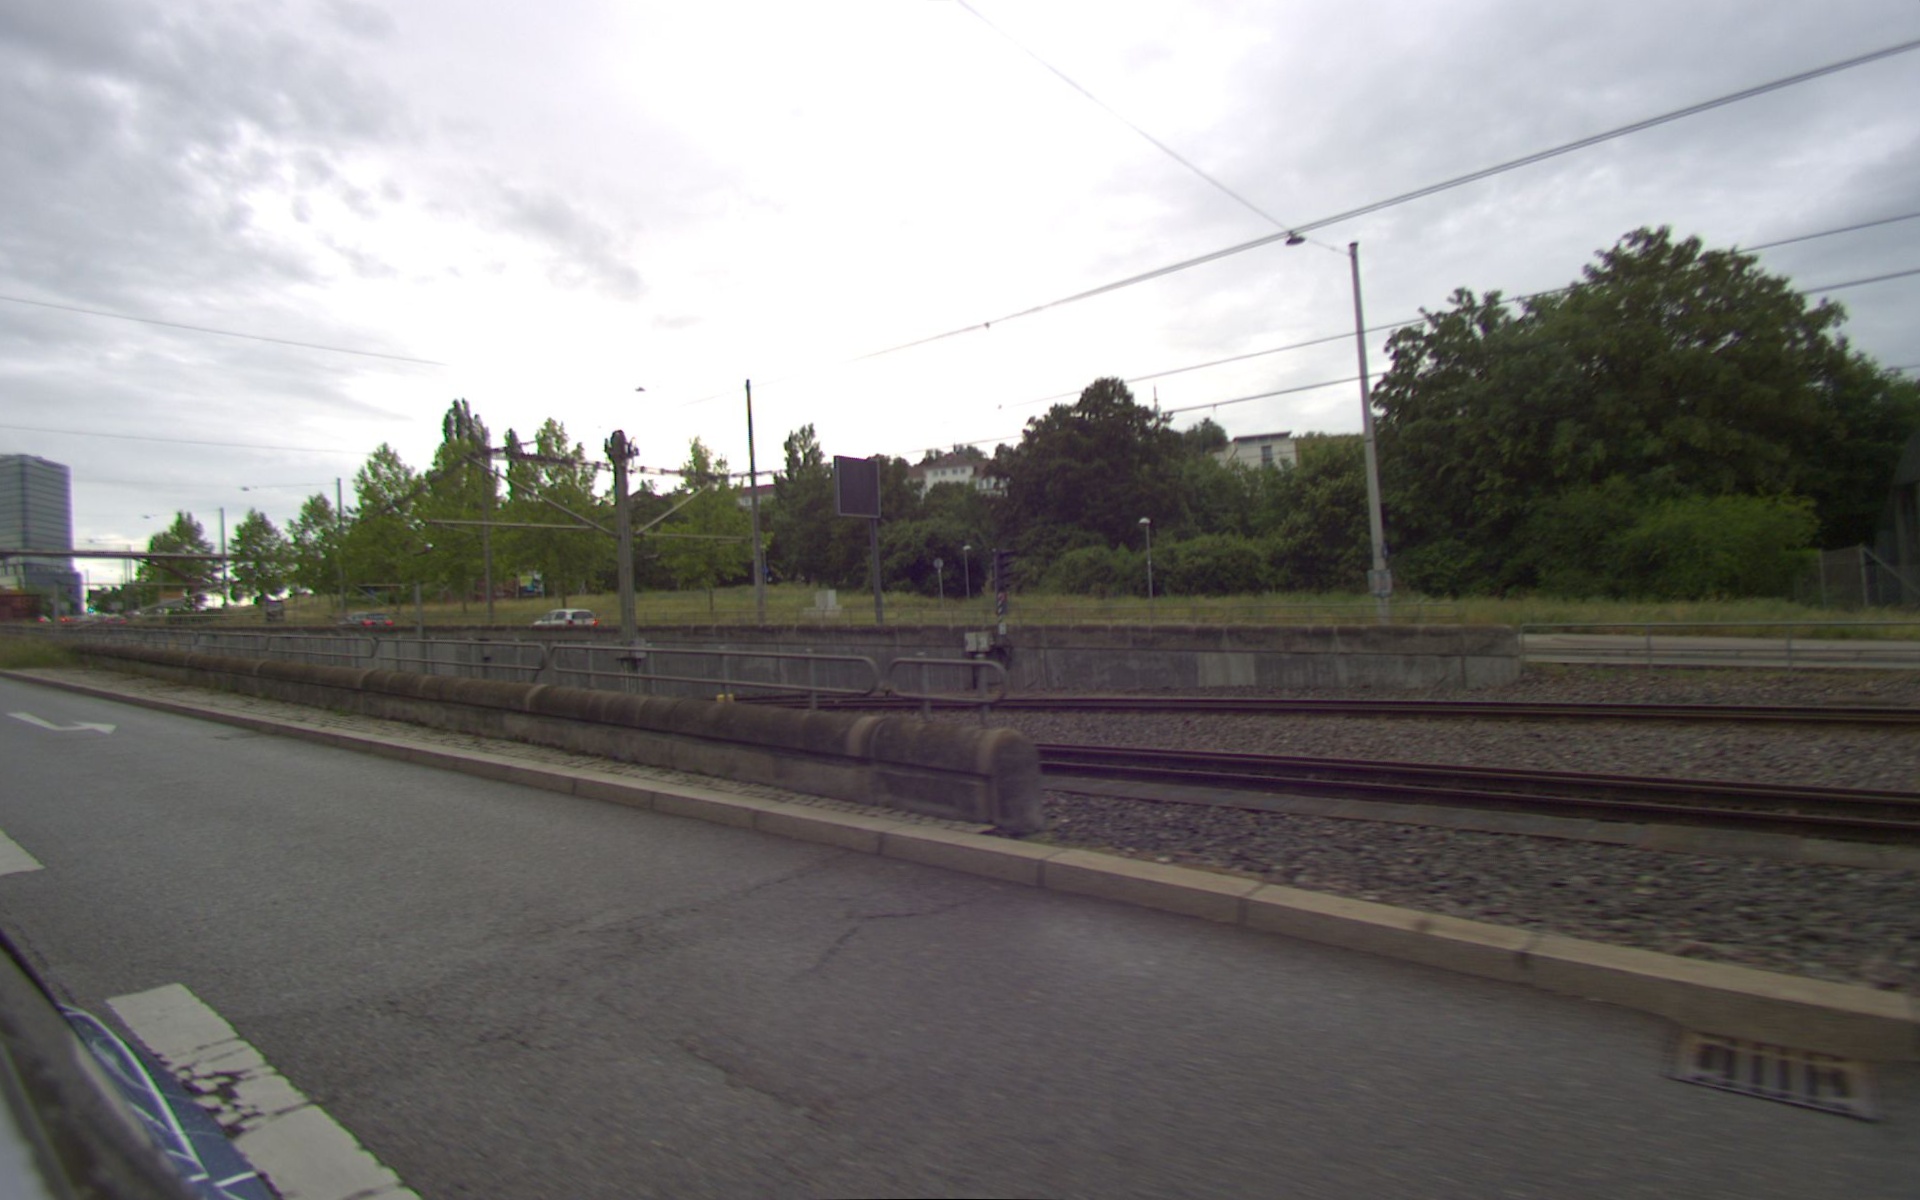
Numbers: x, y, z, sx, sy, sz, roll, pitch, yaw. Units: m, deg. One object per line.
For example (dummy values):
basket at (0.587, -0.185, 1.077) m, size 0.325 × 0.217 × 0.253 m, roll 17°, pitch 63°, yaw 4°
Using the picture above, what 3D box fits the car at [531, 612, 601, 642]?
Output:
car at (-18.256, 1.263, 46.844) m, size 3.556 × 1.301 × 1.539 m, roll -3°, pitch -1°, yaw 41°

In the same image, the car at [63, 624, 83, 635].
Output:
car at (-135.556, 4.566, 154.615) m, size 4.432 × 1.539 × 1.640 m, roll -2°, pitch 0°, yaw 41°

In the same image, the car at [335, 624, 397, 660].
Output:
car at (-36.803, 2.576, 62.670) m, size 4.029 × 1.985 × 1.874 m, roll -2°, pitch 2°, yaw 37°

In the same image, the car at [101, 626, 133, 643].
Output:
car at (-89.435, 3.631, 107.328) m, size 4.355 × 1.656 × 1.872 m, roll -2°, pitch 2°, yaw 41°

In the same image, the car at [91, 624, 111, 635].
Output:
car at (-138.576, 4.806, 163.294) m, size 3.785 × 1.585 × 1.642 m, roll -2°, pitch 2°, yaw 37°
